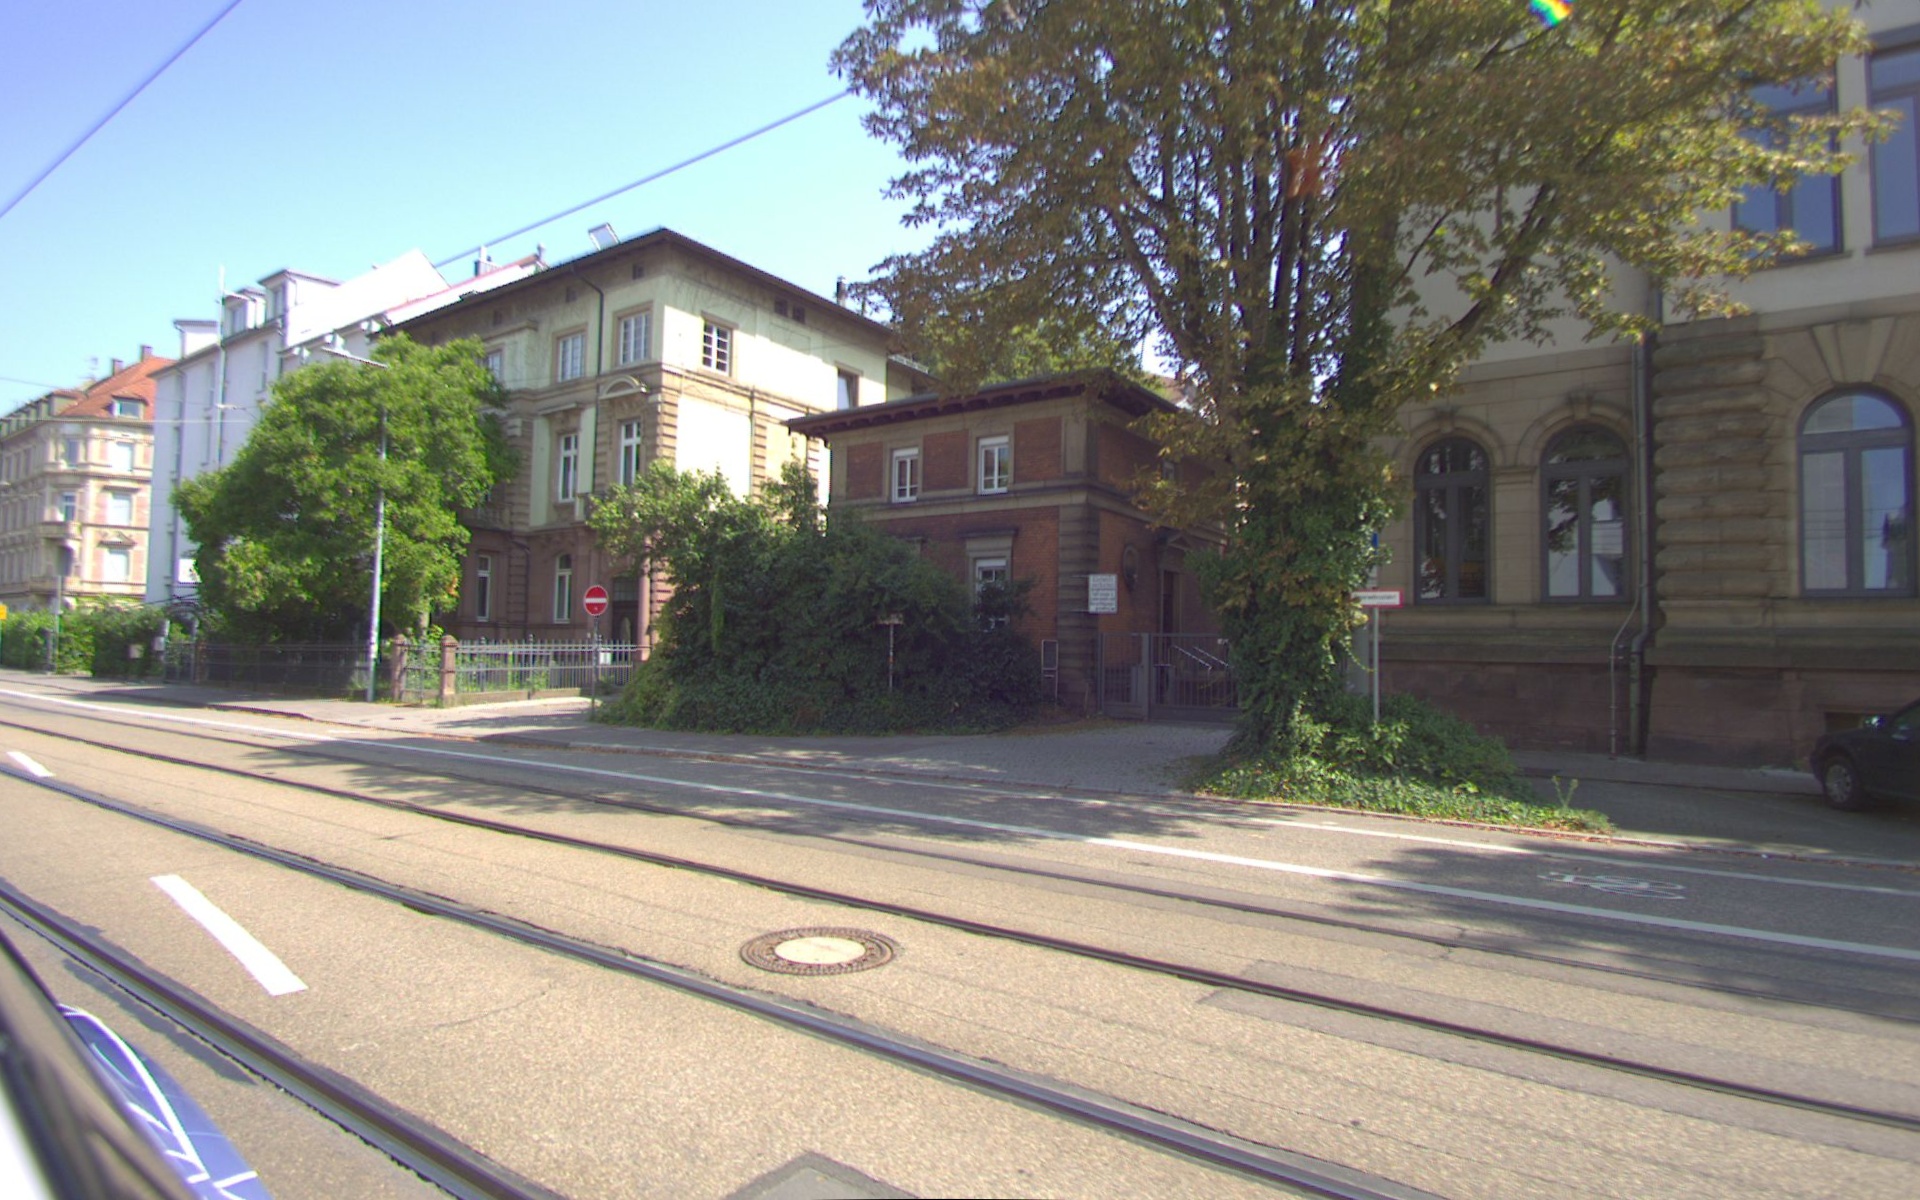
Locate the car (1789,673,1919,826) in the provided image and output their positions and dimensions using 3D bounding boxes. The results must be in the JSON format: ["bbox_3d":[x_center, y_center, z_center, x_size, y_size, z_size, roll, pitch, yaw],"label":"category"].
[{"bbox_3d":[10.330,1.480,9.553,1.800,1.473,4.417,0,-3,8],"label":"car"}]
